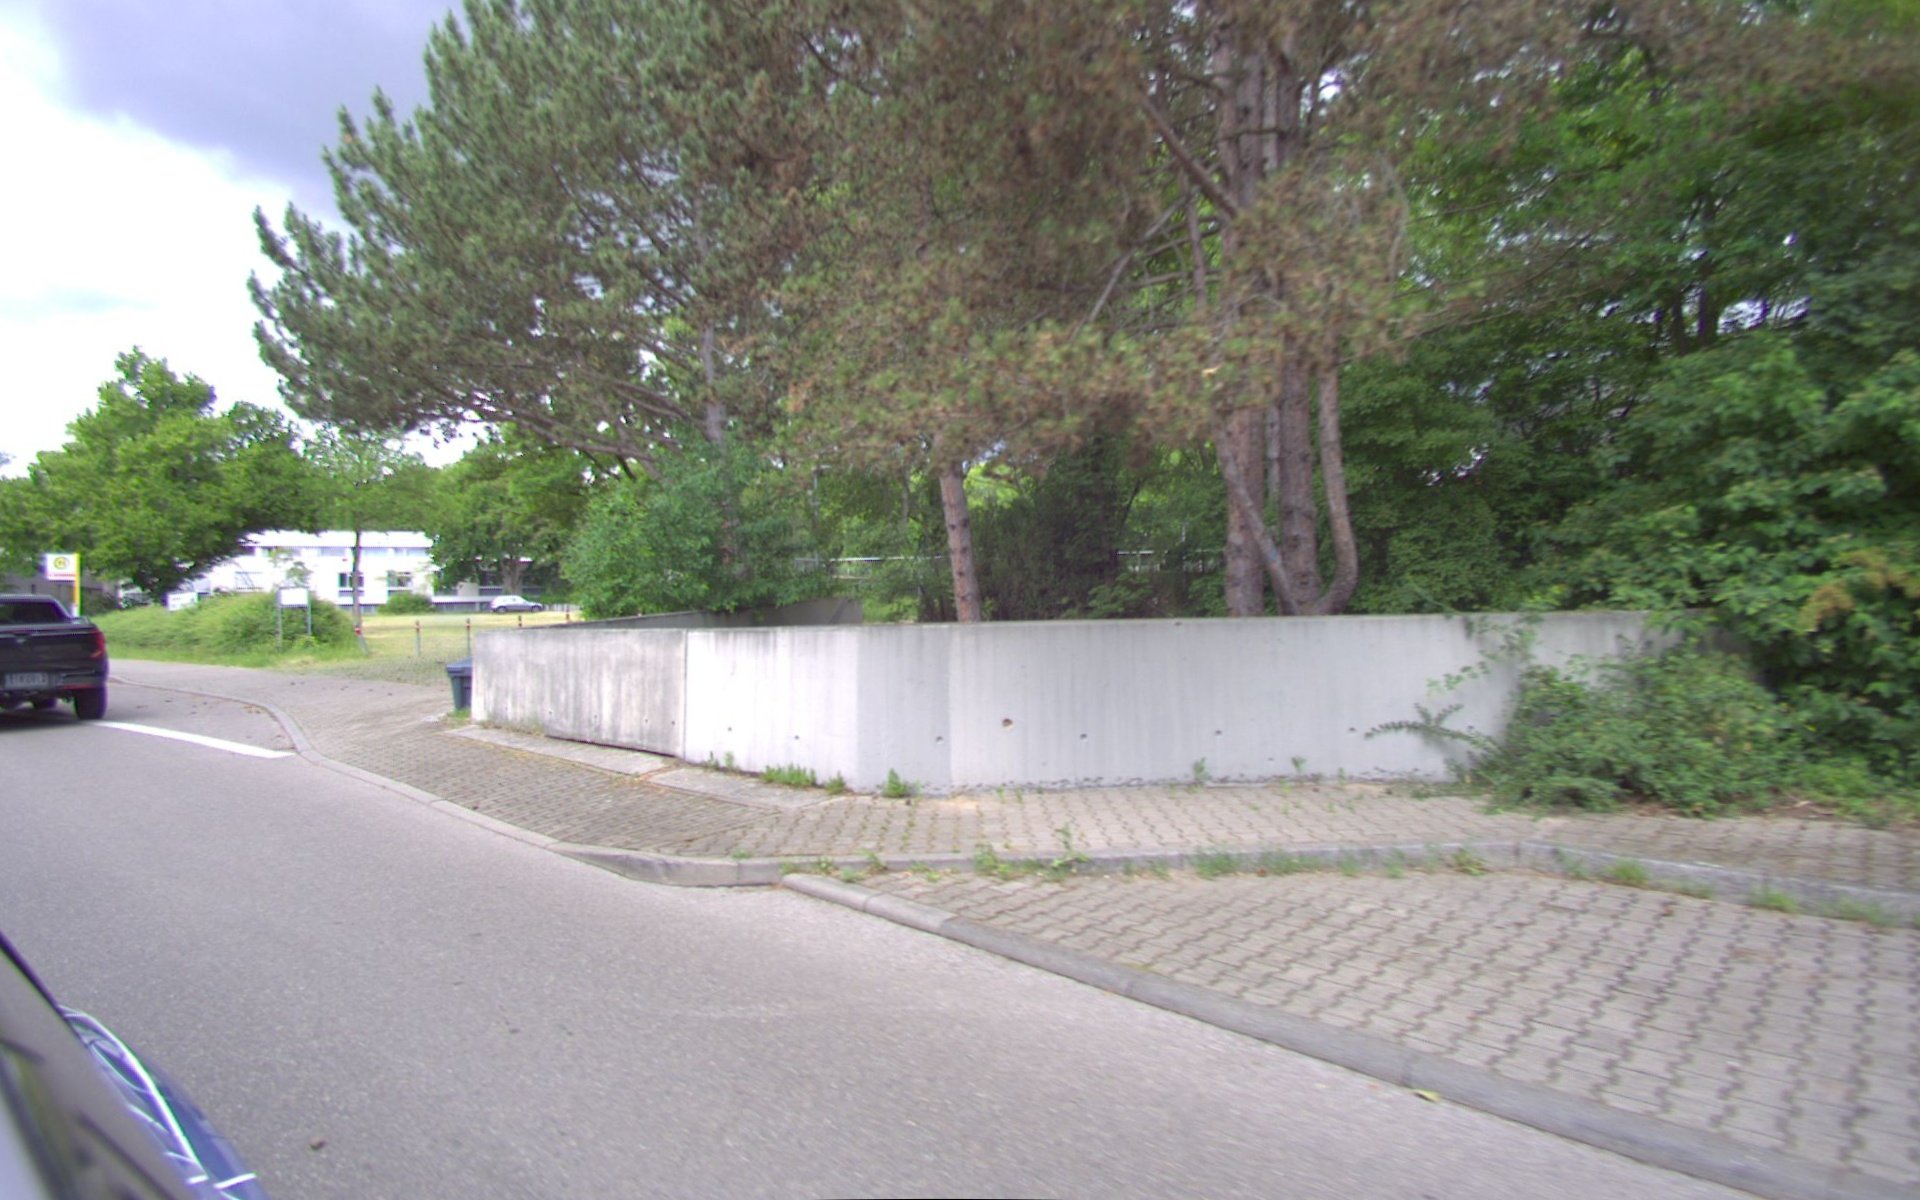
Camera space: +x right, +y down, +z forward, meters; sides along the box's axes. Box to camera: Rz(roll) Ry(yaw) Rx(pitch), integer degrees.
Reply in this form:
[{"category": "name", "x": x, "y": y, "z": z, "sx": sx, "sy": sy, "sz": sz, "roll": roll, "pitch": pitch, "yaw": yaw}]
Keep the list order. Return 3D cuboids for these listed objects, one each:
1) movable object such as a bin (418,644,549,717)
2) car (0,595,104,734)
[{"category": "movable object such as a bin", "x": -5.897, "y": 0.980, "z": 12.598, "sx": 1.036, "sy": 0.766, "sz": 1.146, "roll": -1, "pitch": 2, "yaw": 5}, {"category": "car", "x": -14.146, "y": 0.870, "z": 14.617, "sx": 5.334, "sy": 1.749, "sz": 1.973, "roll": -1, "pitch": 0, "yaw": 42}]
